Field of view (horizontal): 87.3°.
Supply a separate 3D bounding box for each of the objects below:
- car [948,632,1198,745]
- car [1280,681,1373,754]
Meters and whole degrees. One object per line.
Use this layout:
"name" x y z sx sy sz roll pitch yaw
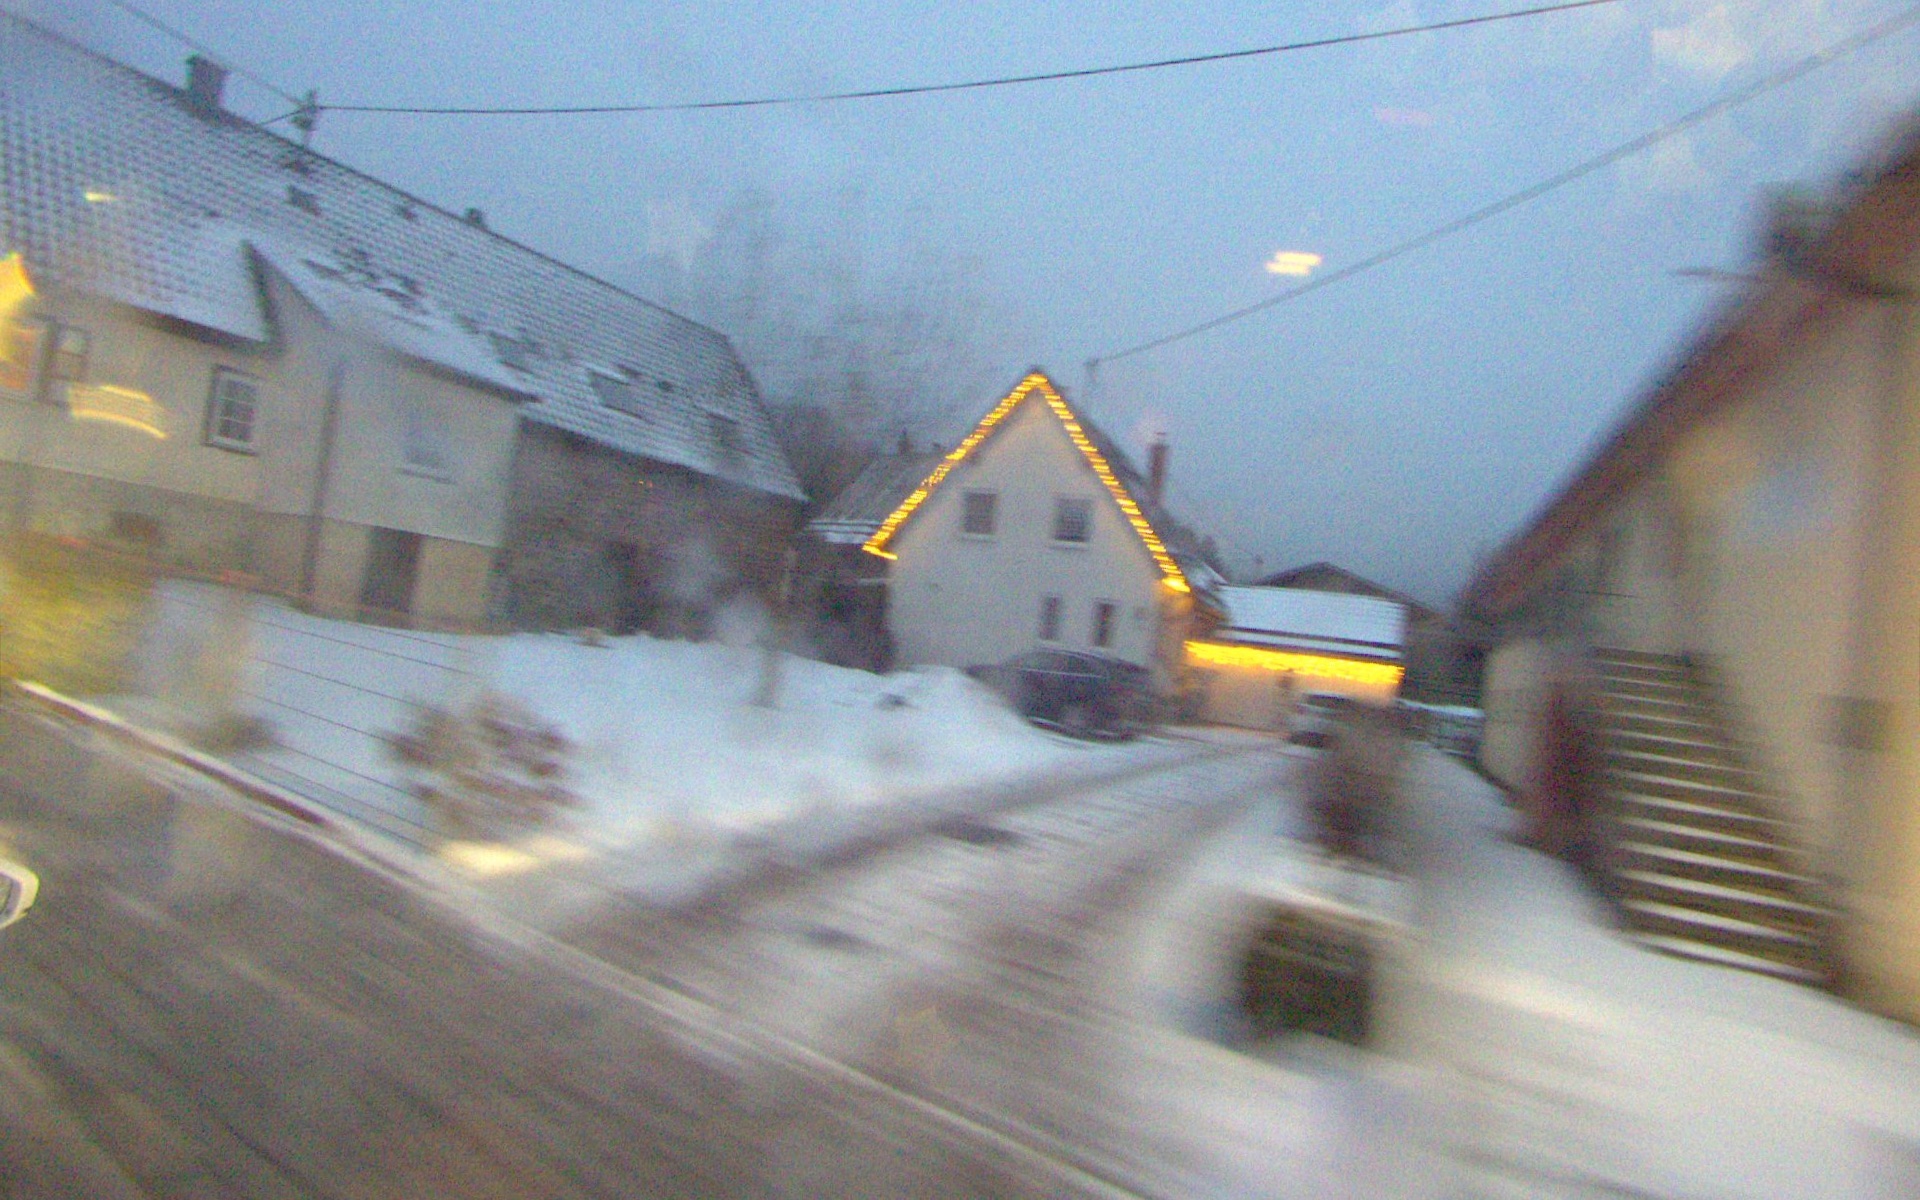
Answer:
"car" 2.201 1.749 20.409 2.315 1.627 4.471 9 -3 -44
"car" 9.833 3.077 26.775 2.015 1.519 4.094 6 -3 23
